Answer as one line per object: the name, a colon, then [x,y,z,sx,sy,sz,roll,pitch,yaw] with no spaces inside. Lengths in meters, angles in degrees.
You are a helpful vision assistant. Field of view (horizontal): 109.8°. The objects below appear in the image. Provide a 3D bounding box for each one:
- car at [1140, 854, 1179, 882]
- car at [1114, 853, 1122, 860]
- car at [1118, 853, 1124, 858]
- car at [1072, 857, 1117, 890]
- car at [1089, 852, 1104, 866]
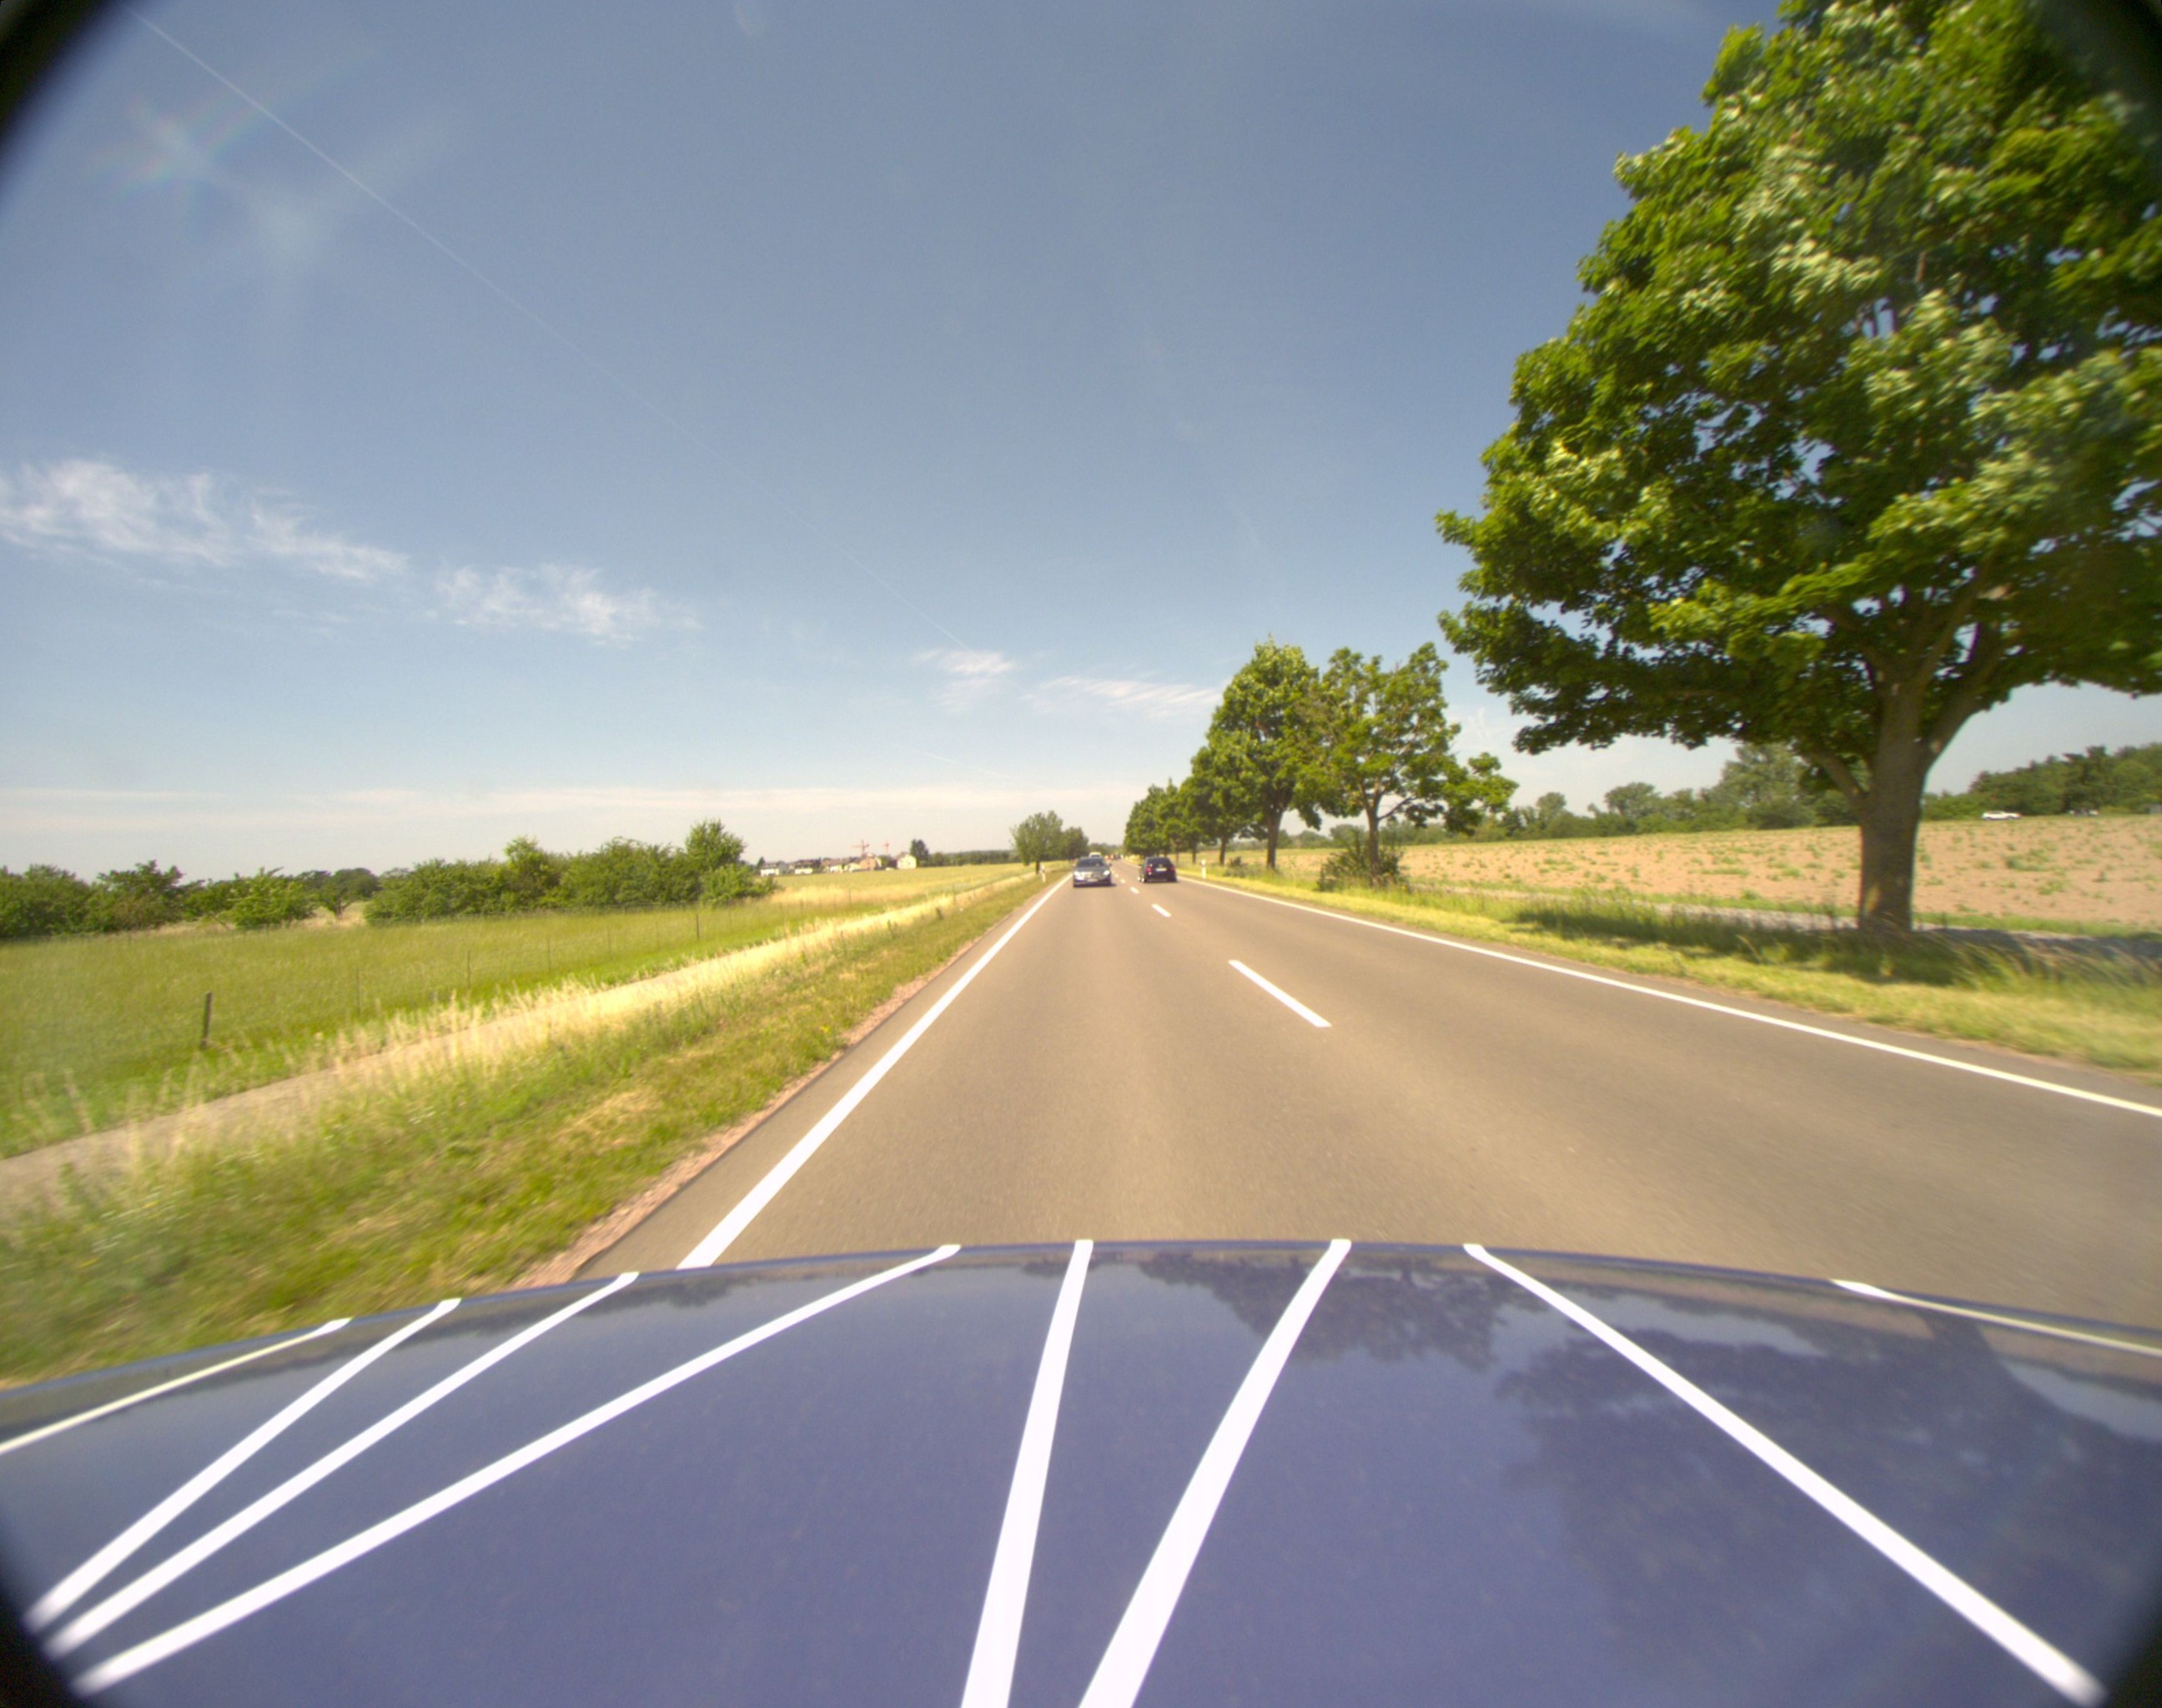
car: [4.142,0.732,40.729,1.709,1.325,4.000,-2,1,1]
car: [9.564,0.692,197.150,1.685,1.838,4.000,-3,0,1]
car: [13.041,0.372,245.734,1.826,1.412,4.590,-2,1,4]
car: [0.646,0.868,35.766,1.953,1.391,4.000,-1,0,2]
car: [2.344,0.738,113.249,1.998,1.907,4.207,-3,0,4]
